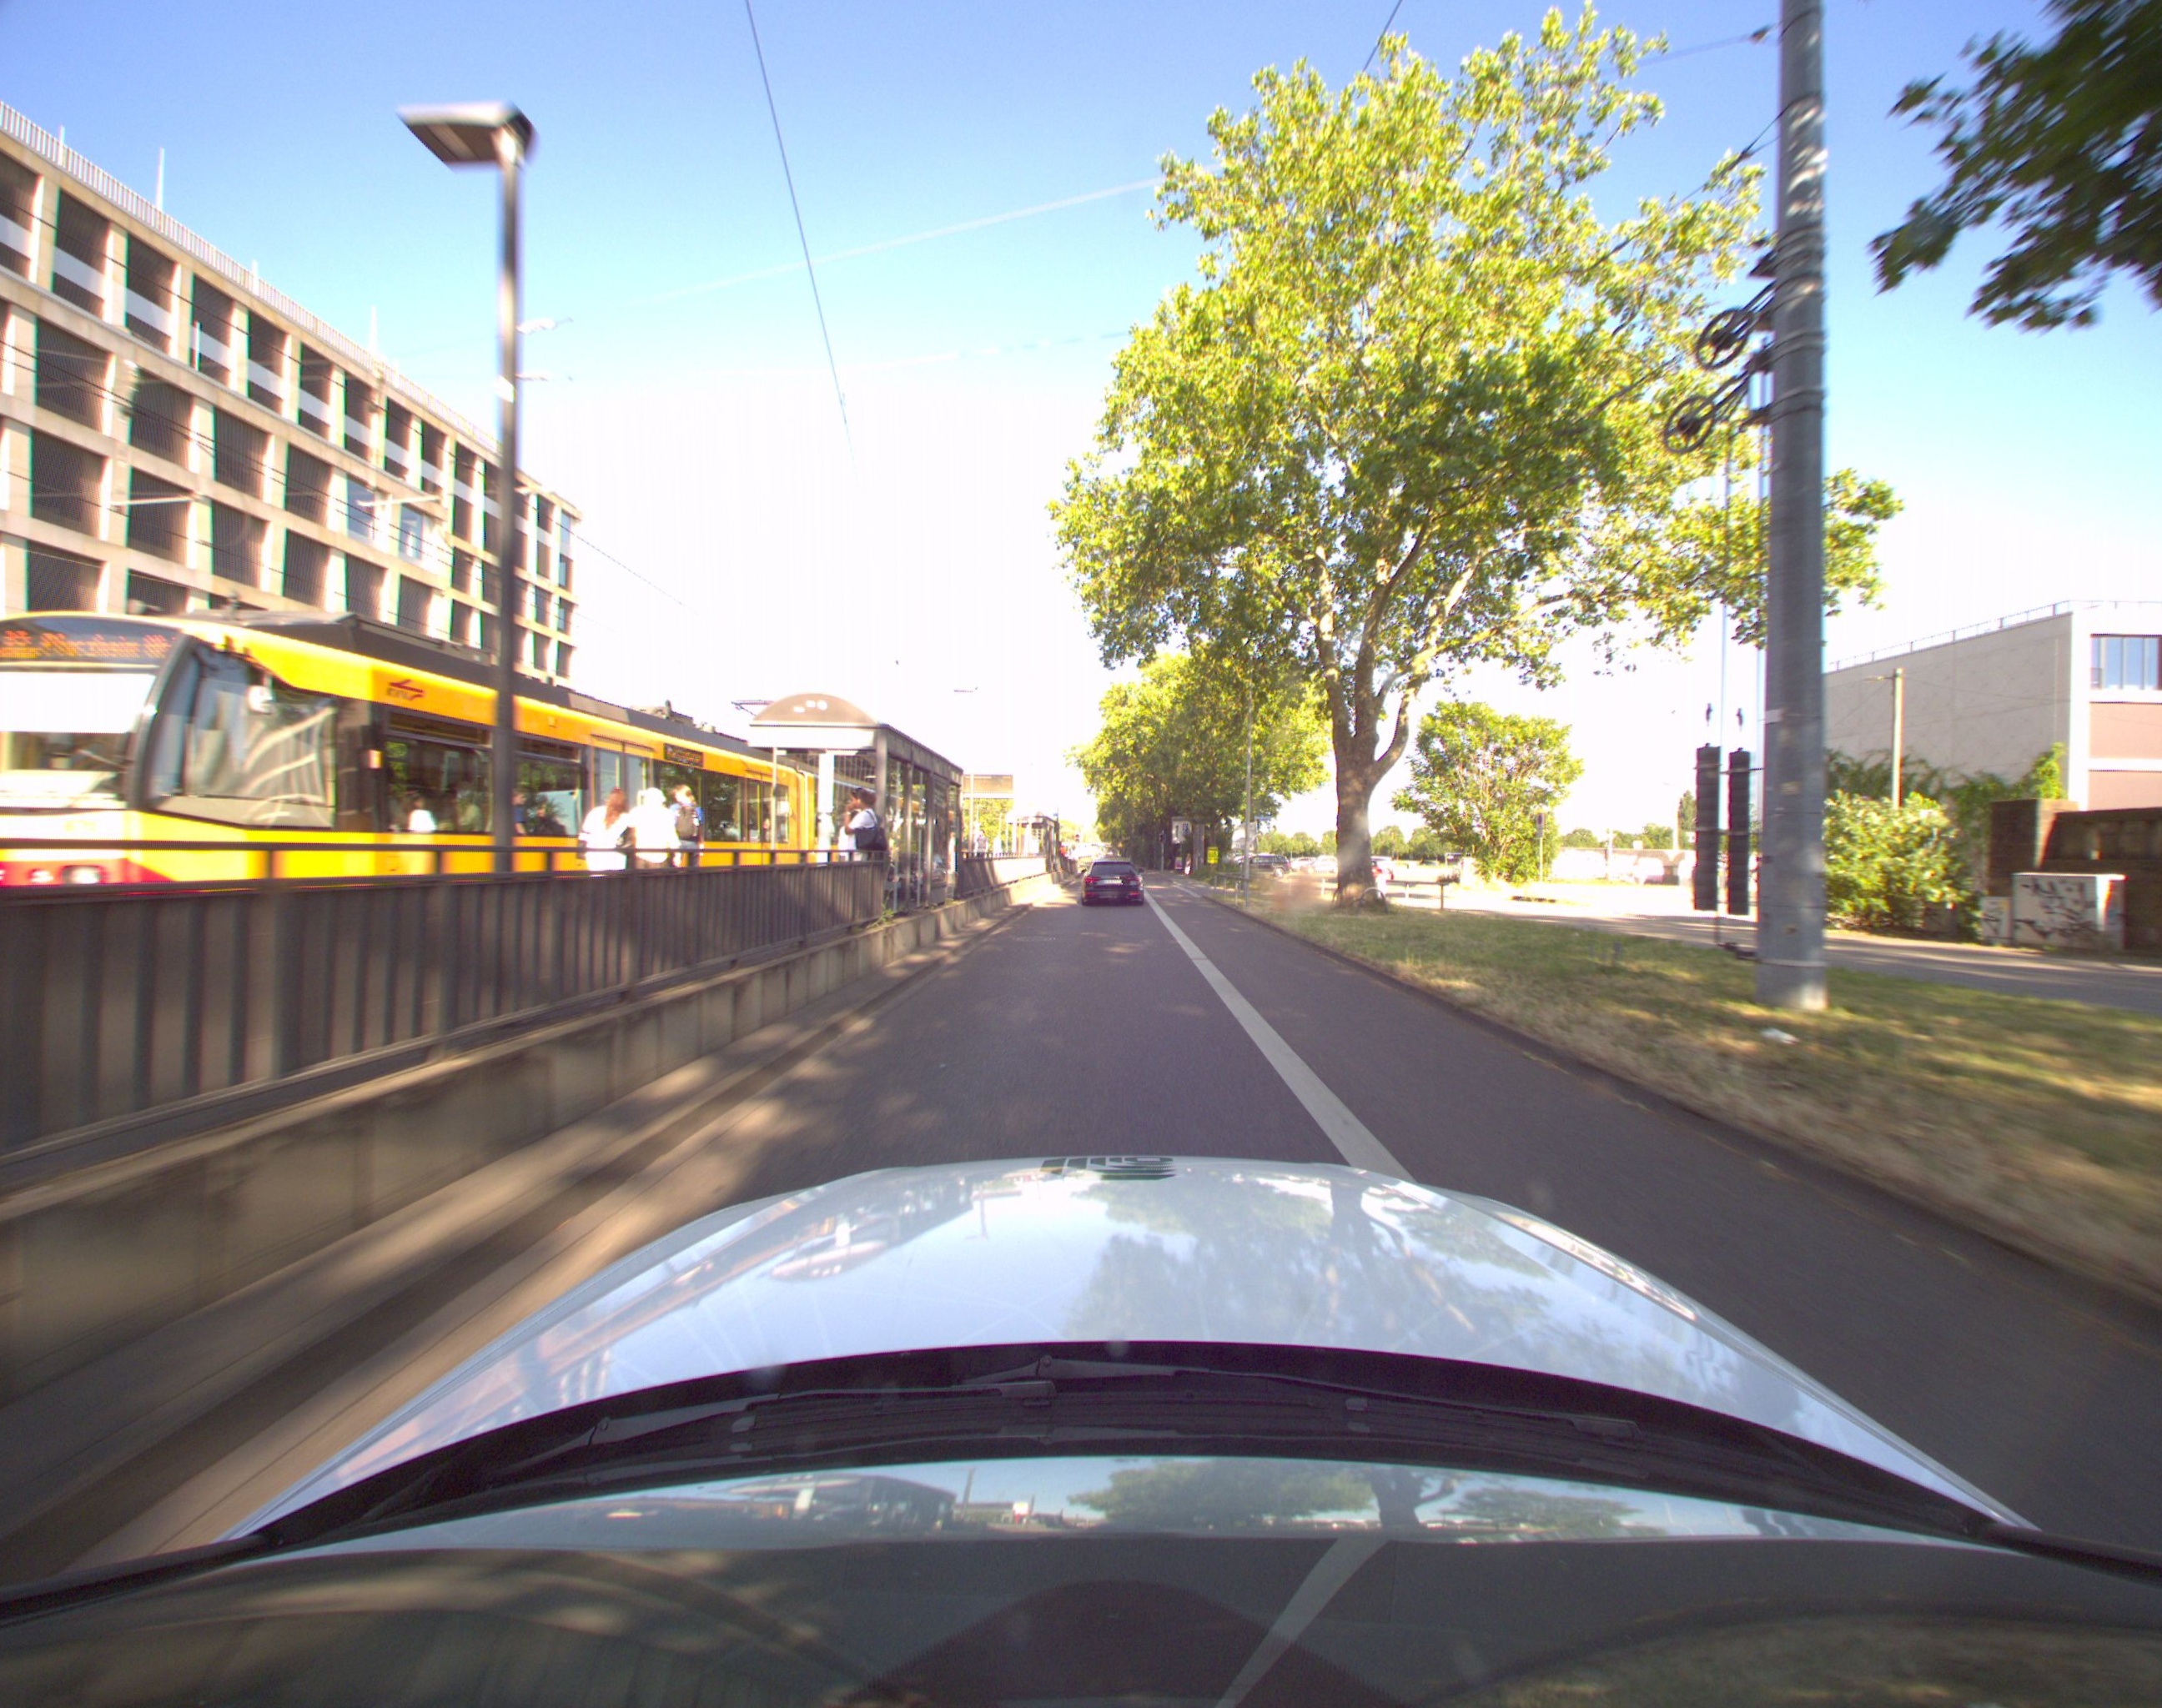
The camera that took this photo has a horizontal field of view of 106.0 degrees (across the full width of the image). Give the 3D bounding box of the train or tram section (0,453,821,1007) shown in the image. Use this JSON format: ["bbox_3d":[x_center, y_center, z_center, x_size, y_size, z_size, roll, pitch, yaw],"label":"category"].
[{"bbox_3d":[-8.241,-0.900,12.771,3.297,3.829,14.224,1,0,2],"label":"train or tram section"}]

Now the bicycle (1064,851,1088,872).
[{"bbox_3d":[-0.407,0.601,66.148,1.984,1.717,0.584,1,0,-43],"label":"bicycle"}]

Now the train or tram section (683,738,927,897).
[{"bbox_3d":[-7.873,-0.899,25.832,3.297,3.829,11.847,1,0,2],"label":"train or tram section"}]

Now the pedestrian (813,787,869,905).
[{"bbox_3d":[-3.737,-0.125,12.726,0.607,1.784,0.681,1,0,2],"label":"pedestrian"}]

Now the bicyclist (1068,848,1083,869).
[{"bbox_3d":[-0.429,0.372,66.118,0.914,1.717,0.761,2,0,-43],"label":"bicyclist"}]

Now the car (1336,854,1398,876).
[{"bbox_3d":[23.208,0.853,66.199,4.436,1.658,1.921,1,0,6],"label":"car"}]

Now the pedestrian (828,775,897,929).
[{"bbox_3d":[-2.628,-0.024,9.840,0.609,1.784,0.614,1,0,2],"label":"pedestrian"}]

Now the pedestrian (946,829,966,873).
[{"bbox_3d":[-4.974,-0.127,32.497,0.655,1.713,0.613,1,0,0],"label":"pedestrian"}]

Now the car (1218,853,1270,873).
[{"bbox_3d":[13.092,0.701,65.680,3.870,1.505,1.889,1,0,3],"label":"car"}]

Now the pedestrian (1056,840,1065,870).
[{"bbox_3d":[-1.194,0.036,47.043,0.410,1.717,0.666,1,0,2],"label":"pedestrian"}]

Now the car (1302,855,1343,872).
[{"bbox_3d":[24.615,0.967,83.090,3.797,1.609,1.671,1,0,2],"label":"car"}]

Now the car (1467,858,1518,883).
[{"bbox_3d":[28.460,1.131,56.401,1.560,1.609,4.001,1,0,1],"label":"car"}]

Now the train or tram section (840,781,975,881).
[{"bbox_3d":[-7.531,-0.906,37.692,3.297,3.829,11.847,1,0,2],"label":"train or tram section"}]

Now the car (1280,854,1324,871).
[{"bbox_3d":[24.738,0.961,91.309,4.341,1.816,1.998,1,0,-3],"label":"car"}]

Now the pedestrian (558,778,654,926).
[{"bbox_3d":[-5.951,-0.022,10.239,0.790,1.784,0.626,1,0,2],"label":"pedestrian"}]

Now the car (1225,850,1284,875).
[{"bbox_3d":[12.850,0.635,60.502,3.971,1.764,1.834,1,0,2],"label":"car"}]

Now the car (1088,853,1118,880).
[{"bbox_3d":[1.359,0.738,51.887,1.757,1.619,3.999,1,0,0],"label":"car"}]

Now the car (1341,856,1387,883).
[{"bbox_3d":[17.081,0.926,49.296,1.608,1.515,3.805,1,0,2],"label":"car"}]

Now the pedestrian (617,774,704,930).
[{"bbox_3d":[-5.078,-0.019,9.833,0.799,1.784,0.642,1,0,-38],"label":"pedestrian"}]

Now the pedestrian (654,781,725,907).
[{"bbox_3d":[-5.767,-0.145,12.025,0.609,1.784,0.775,1,0,2],"label":"pedestrian"}]

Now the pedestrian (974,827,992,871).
[{"bbox_3d":[-3.904,-0.191,32.416,0.609,1.713,0.659,1,0,0],"label":"pedestrian"}]

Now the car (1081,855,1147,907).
[{"bbox_3d":[0.943,0.772,25.210,1.872,1.457,3.356,-1,0,-1],"label":"car"}]
